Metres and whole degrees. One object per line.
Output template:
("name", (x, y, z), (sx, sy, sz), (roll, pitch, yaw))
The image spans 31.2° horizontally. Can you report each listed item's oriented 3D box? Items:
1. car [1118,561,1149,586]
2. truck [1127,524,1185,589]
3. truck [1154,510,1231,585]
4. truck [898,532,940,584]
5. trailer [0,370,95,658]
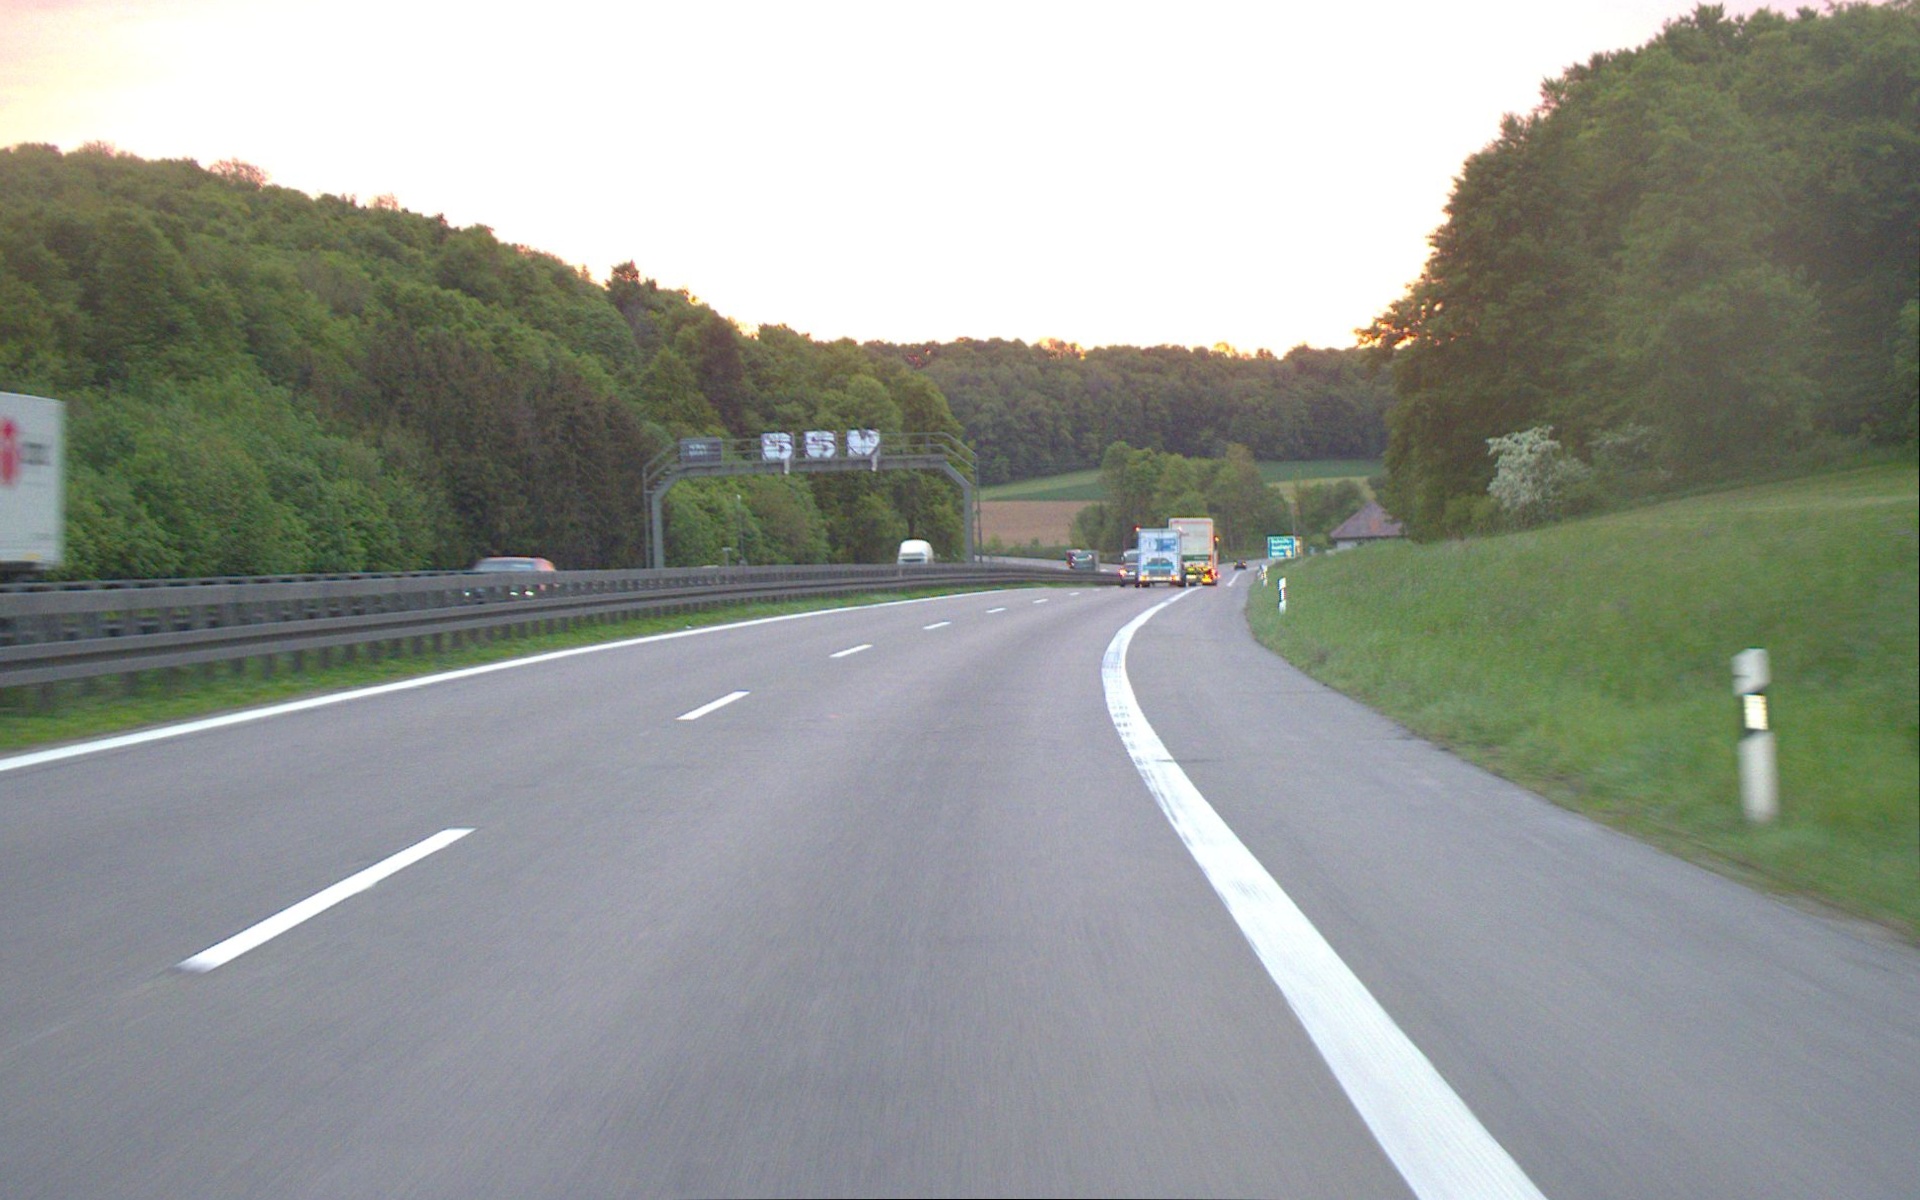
("car", (11.371, -1.761, 225.168), (1.994, 1.512, 4.000), (-1, 1, 4))
("truck", (8.824, -1.992, 154.581), (2.276, 2.655, 5.235), (-2, 3, 6))
("truck", (14.140, -3.230, 207.977), (3.959, 4.272, 14.321), (-1, 1, 7))
("truck", (-2.449, -2.515, 205.619), (1.994, 3.057, 5.593), (0, 1, 5))
("trailer", (-15.783, -1.286, 51.343), (2.832, 4.302, 9.292), (0, 1, 4))
